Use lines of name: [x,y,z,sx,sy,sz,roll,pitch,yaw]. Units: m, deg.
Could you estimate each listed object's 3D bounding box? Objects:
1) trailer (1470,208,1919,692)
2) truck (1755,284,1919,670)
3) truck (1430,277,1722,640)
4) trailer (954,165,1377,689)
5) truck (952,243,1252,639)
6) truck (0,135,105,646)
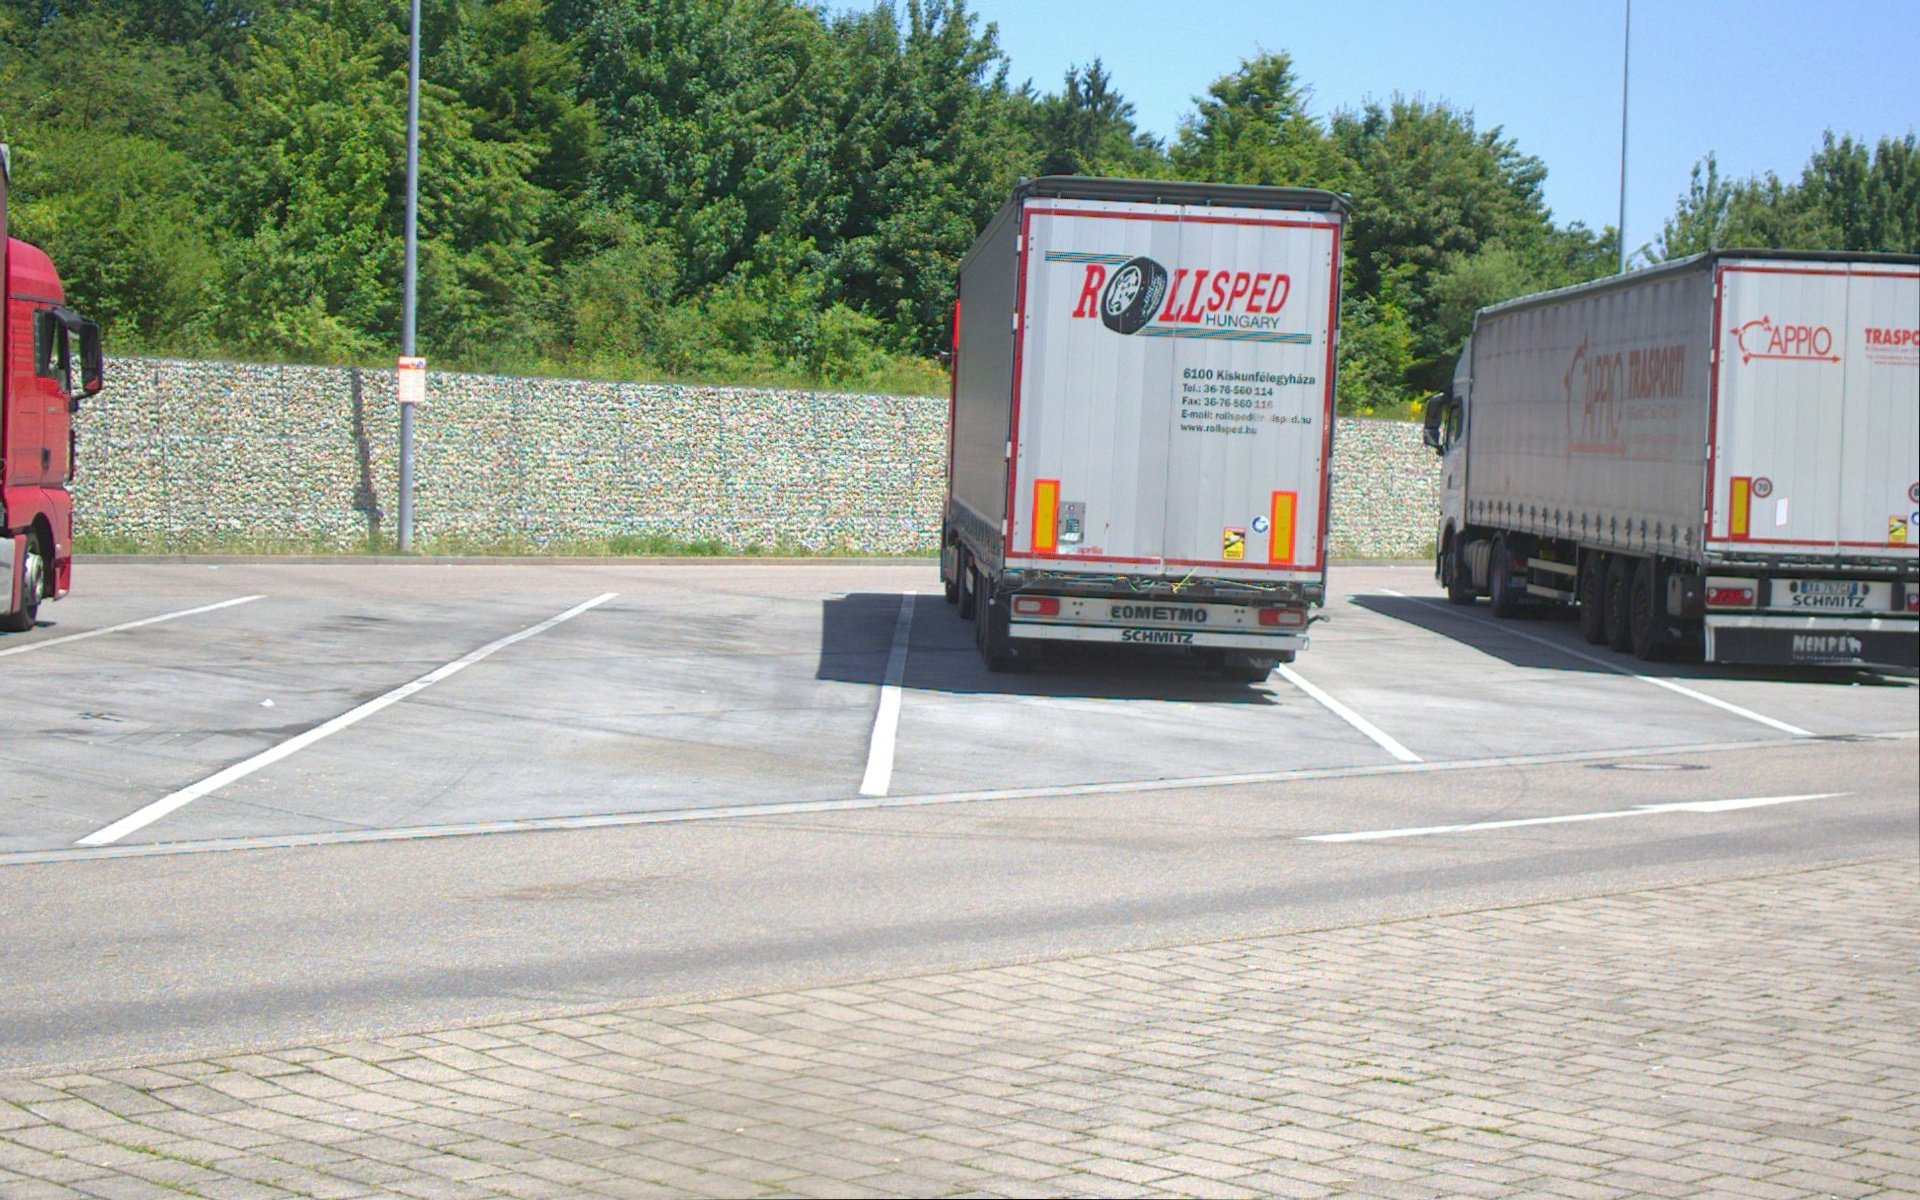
trailer: [8.119,-1.583,38.148,2.681,4.437,12.831,1,2,-1]
truck: [11.734,-1.345,38.757,2.587,4.211,11.971,1,1,-1]
truck: [7.983,-1.832,45.262,2.661,4.437,5.864,1,2,-1]
trailer: [1.570,-1.507,32.117,2.897,4.000,11.319,1,2,-2]
truck: [1.424,-1.696,37.707,2.871,3.967,6.030,1,2,-1]
truck: [-9.170,-1.723,28.369,2.805,4.119,5.894,1,2,-1]
